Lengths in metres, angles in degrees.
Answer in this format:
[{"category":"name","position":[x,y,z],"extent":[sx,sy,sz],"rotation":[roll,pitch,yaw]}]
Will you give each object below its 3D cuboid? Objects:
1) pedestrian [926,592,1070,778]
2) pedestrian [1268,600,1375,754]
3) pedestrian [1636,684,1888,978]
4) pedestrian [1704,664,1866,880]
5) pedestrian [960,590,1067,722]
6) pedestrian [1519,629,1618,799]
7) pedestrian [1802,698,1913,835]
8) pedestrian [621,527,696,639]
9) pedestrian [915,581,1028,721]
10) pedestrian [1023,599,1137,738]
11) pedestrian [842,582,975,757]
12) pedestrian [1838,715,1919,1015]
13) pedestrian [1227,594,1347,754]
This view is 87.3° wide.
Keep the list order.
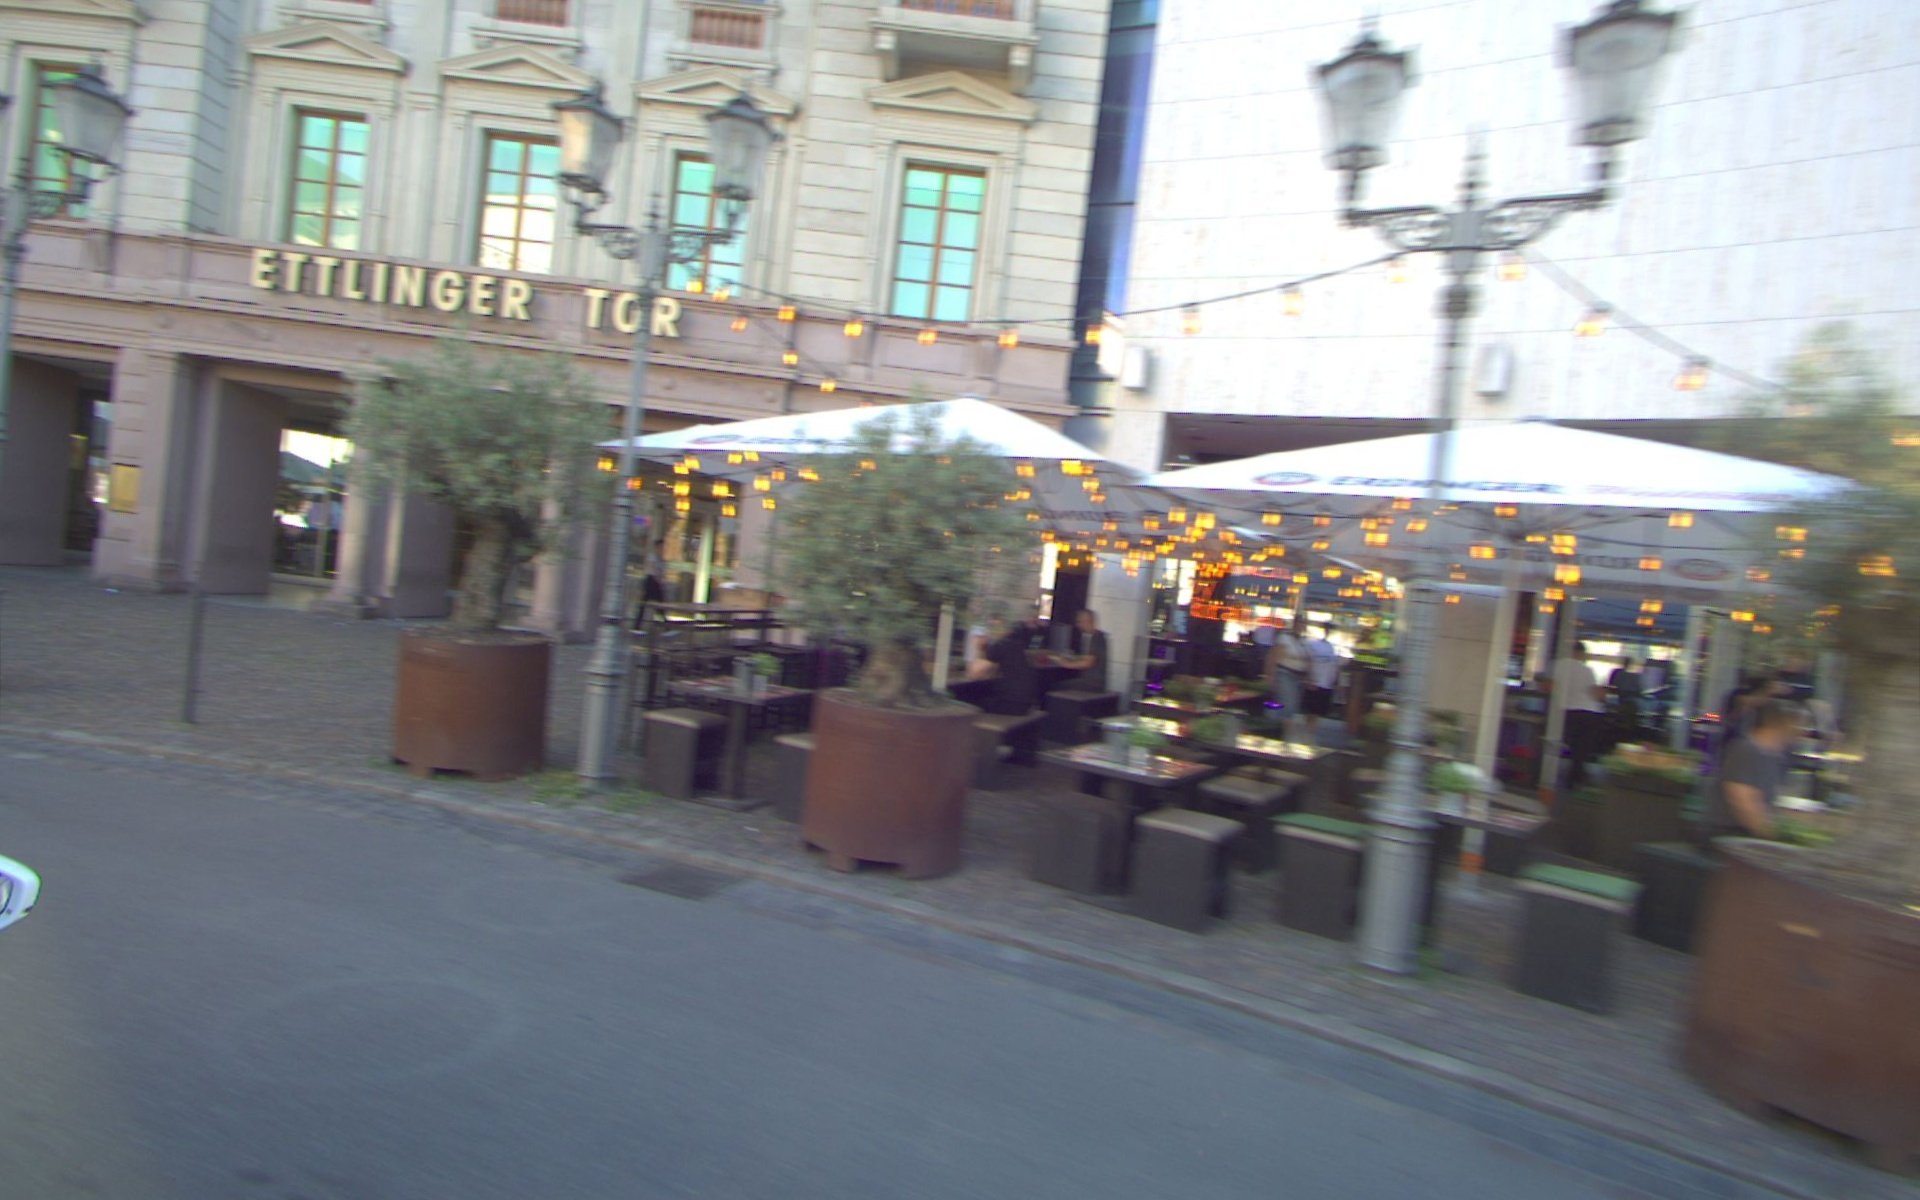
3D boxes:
[{"category":"pedestrian","position":[0.322,0.726,8.733],"extent":[0.717,1.466,0.857],"rotation":[6,2,-36]},{"category":"pedestrian","position":[4.629,0.982,12.896],"extent":[0.724,1.825,0.841],"rotation":[6,2,-39]},{"category":"pedestrian","position":[4.707,1.300,5.930],"extent":[0.717,1.466,0.857],"rotation":[6,2,-36]},{"category":"pedestrian","position":[7.472,1.527,9.155],"extent":[0.703,1.769,0.710],"rotation":[7,2,12]},{"category":"pedestrian","position":[0.651,0.678,12.229],"extent":[0.770,1.466,0.842],"rotation":[6,2,-45]},{"category":"pedestrian","position":[6.864,1.259,11.336],"extent":[0.705,1.769,0.707],"rotation":[8,2,36]},{"category":"pedestrian","position":[10.150,1.855,11.384],"extent":[0.773,1.366,0.706],"rotation":[8,2,44]},{"category":"pedestrian","position":[-5.145,-0.280,17.185],"extent":[0.855,1.769,0.716],"rotation":[7,2,3]},{"category":"pedestrian","position":[0.134,0.580,11.533],"extent":[0.841,1.466,0.770],"rotation":[8,2,44]},{"category":"pedestrian","position":[1.379,0.783,11.587],"extent":[0.770,1.466,0.842],"rotation":[6,2,-45]},{"category":"pedestrian","position":[-0.482,0.632,9.274],"extent":[0.717,1.466,0.857],"rotation":[6,2,-36]},{"category":"pedestrian","position":[5.200,1.390,5.216],"extent":[0.717,1.466,0.686],"rotation":[6,2,-36]},{"category":"pedestrian","position":[4.036,0.909,12.432],"extent":[0.723,1.825,0.971],"rotation":[6,2,-38]}]
